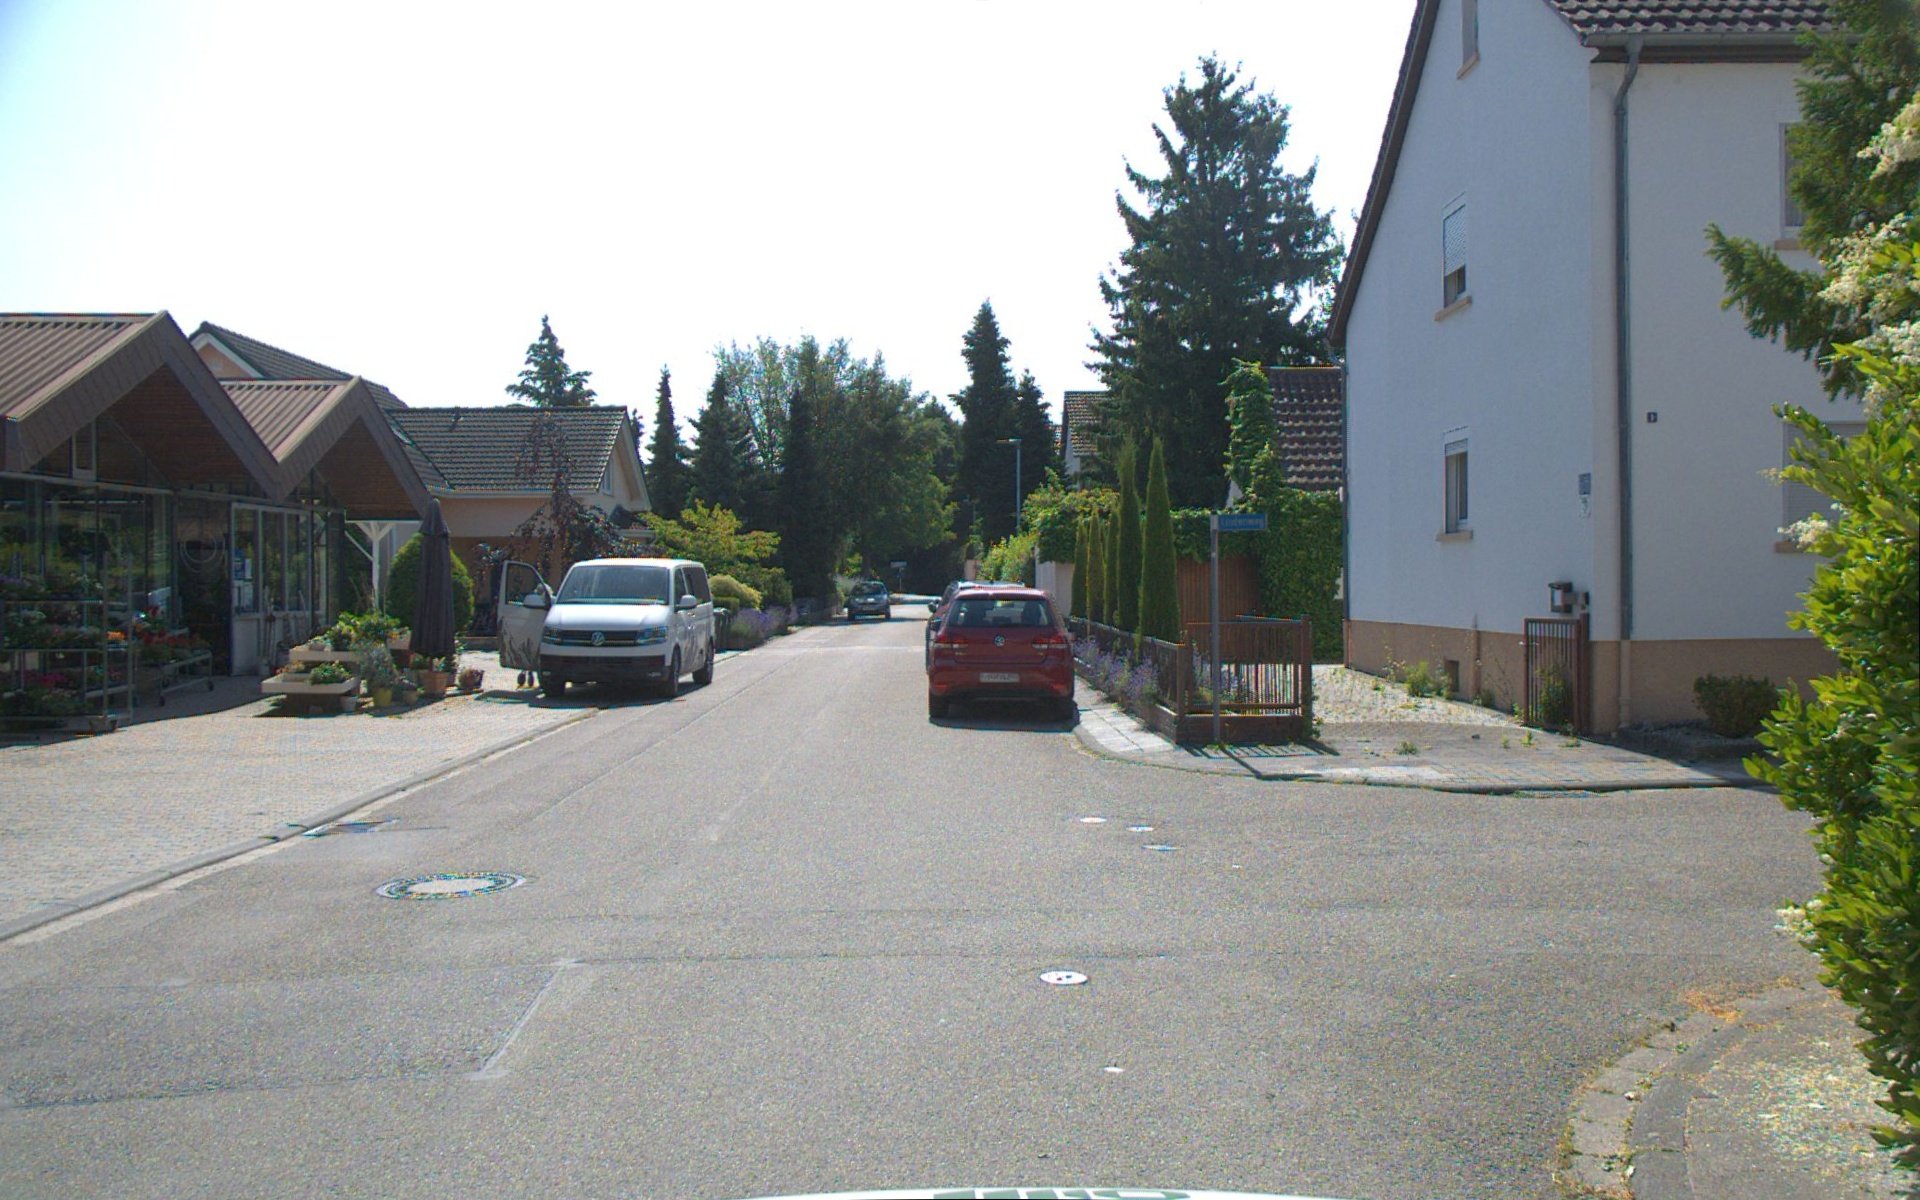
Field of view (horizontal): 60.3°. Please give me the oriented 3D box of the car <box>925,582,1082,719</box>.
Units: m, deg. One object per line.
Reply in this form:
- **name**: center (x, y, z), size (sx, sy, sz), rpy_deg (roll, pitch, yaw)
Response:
- **car**: center (0.568, 0.546, 20.612), size (1.738, 1.505, 4.001), rpy_deg (1, 0, 2)

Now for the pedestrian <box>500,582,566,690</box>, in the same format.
- **pedestrian**: center (-6.359, 0.518, 24.626), size (0.704, 1.565, 0.640), rpy_deg (0, 1, 32)

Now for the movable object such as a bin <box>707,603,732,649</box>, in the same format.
- **movable object such as a bin**: center (-5.592, 0.607, 38.465), size (0.484, 1.042, 0.447), rpy_deg (-1, 0, -1)

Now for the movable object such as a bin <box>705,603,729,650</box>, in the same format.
- **movable object such as a bin**: center (-5.583, 0.607, 37.992), size (0.484, 1.042, 0.447), rpy_deg (-1, 0, -1)

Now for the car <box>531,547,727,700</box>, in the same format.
- **car**: center (-4.822, 0.296, 24.853), size (1.889, 2.049, 4.896), rpy_deg (-1, 0, 1)

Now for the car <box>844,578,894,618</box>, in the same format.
- **car**: center (-3.605, -0.083, 66.181), size (1.717, 1.513, 4.375), rpy_deg (-1, 1, 0)

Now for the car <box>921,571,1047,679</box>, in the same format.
- **car**: center (0.324, 0.368, 27.432), size (1.786, 1.643, 3.997), rpy_deg (0, 0, -4)
